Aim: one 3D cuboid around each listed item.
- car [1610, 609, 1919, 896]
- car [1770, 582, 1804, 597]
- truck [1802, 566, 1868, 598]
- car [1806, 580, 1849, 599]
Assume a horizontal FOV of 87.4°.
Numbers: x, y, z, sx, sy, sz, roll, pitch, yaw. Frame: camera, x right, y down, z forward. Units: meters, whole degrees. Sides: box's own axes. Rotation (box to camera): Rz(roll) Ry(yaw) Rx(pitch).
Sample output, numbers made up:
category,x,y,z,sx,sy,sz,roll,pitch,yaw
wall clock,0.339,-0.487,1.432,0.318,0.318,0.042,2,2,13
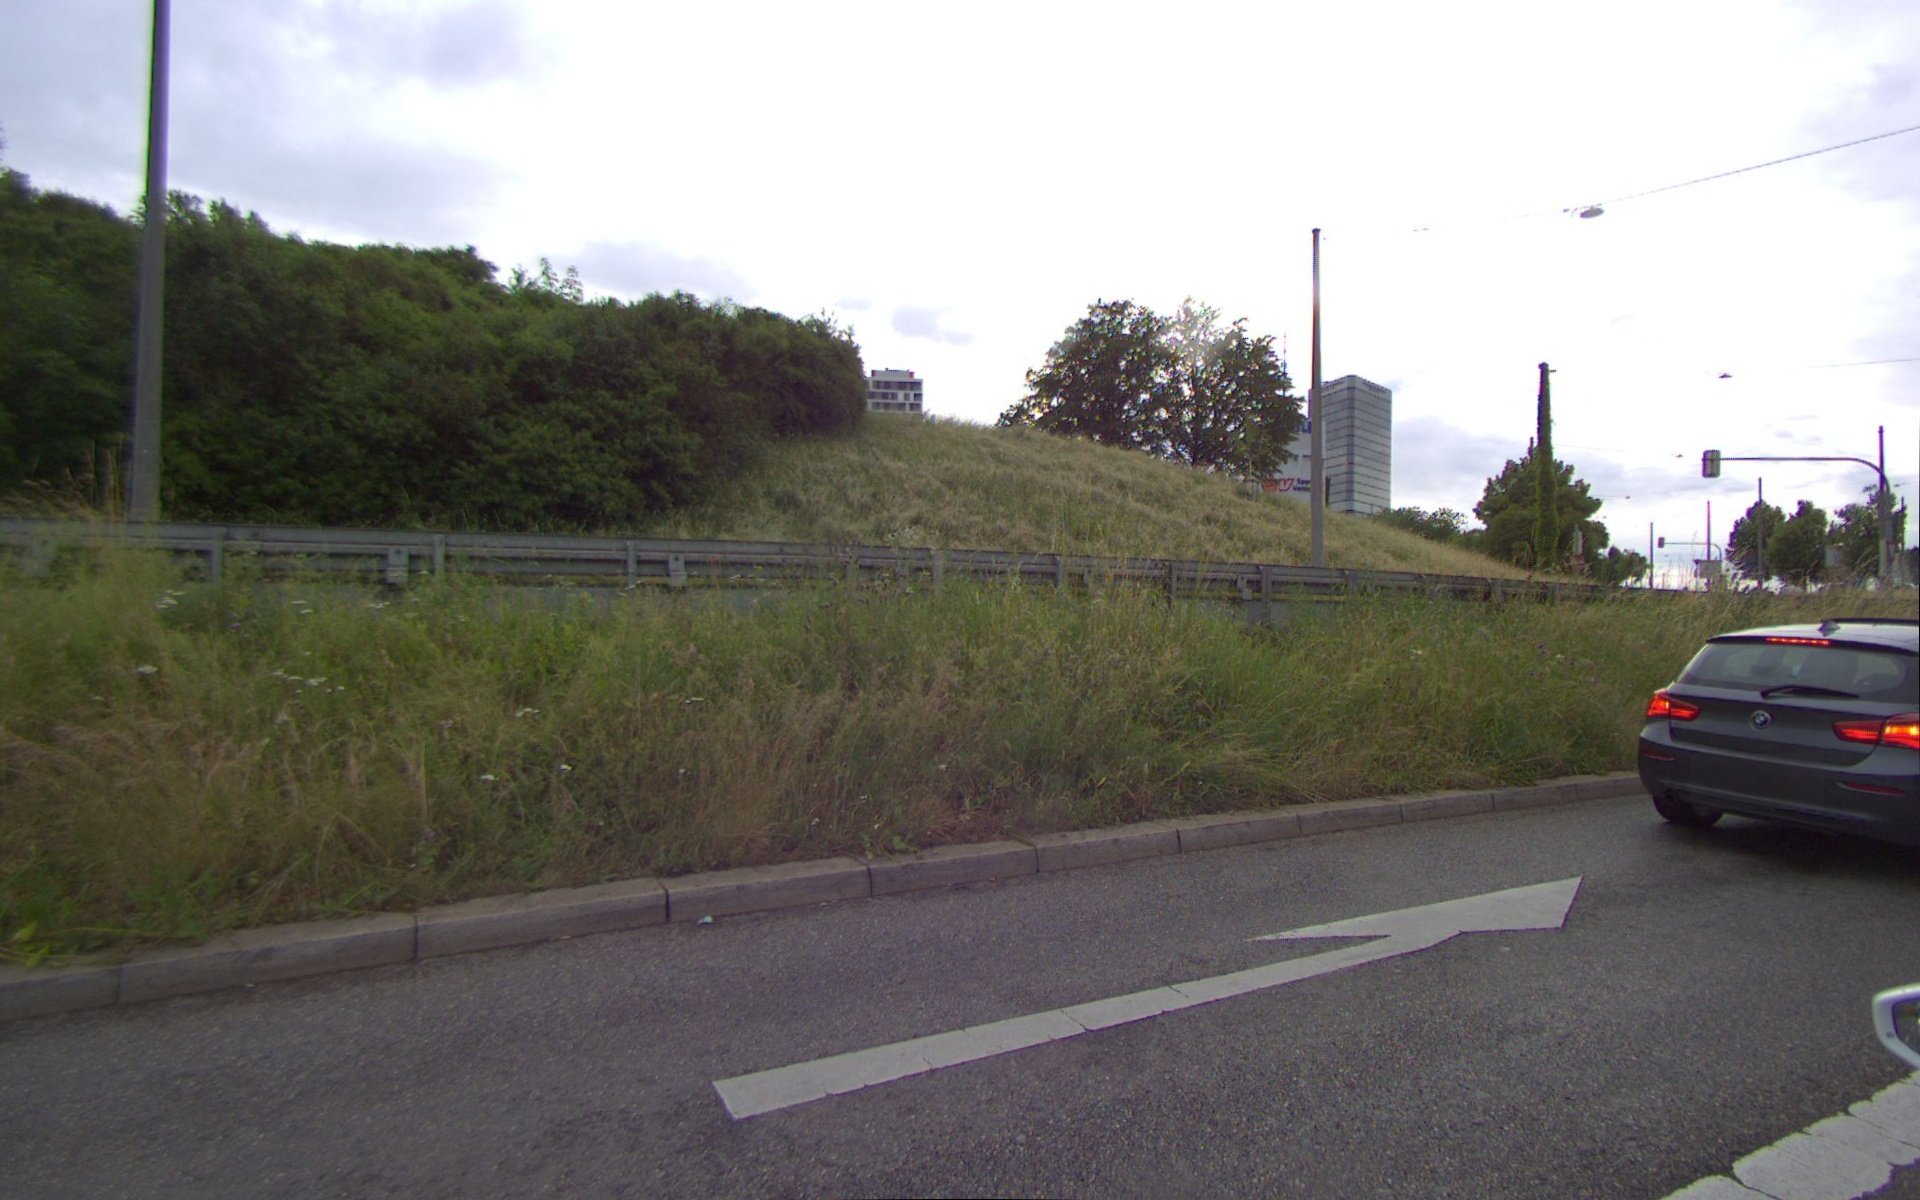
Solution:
category,x,y,z,sx,sy,sz,roll,pitch,yaw
car,6.488,0.869,6.805,4.062,1.479,1.696,2,-1,-27
car,98.994,-1.294,120.296,1.962,1.682,4.540,2,2,25
truck,90.280,-1.861,103.752,3.206,3.116,6.171,4,3,24
car,83.270,-0.973,96.462,1.962,1.681,4.350,2,-1,25
